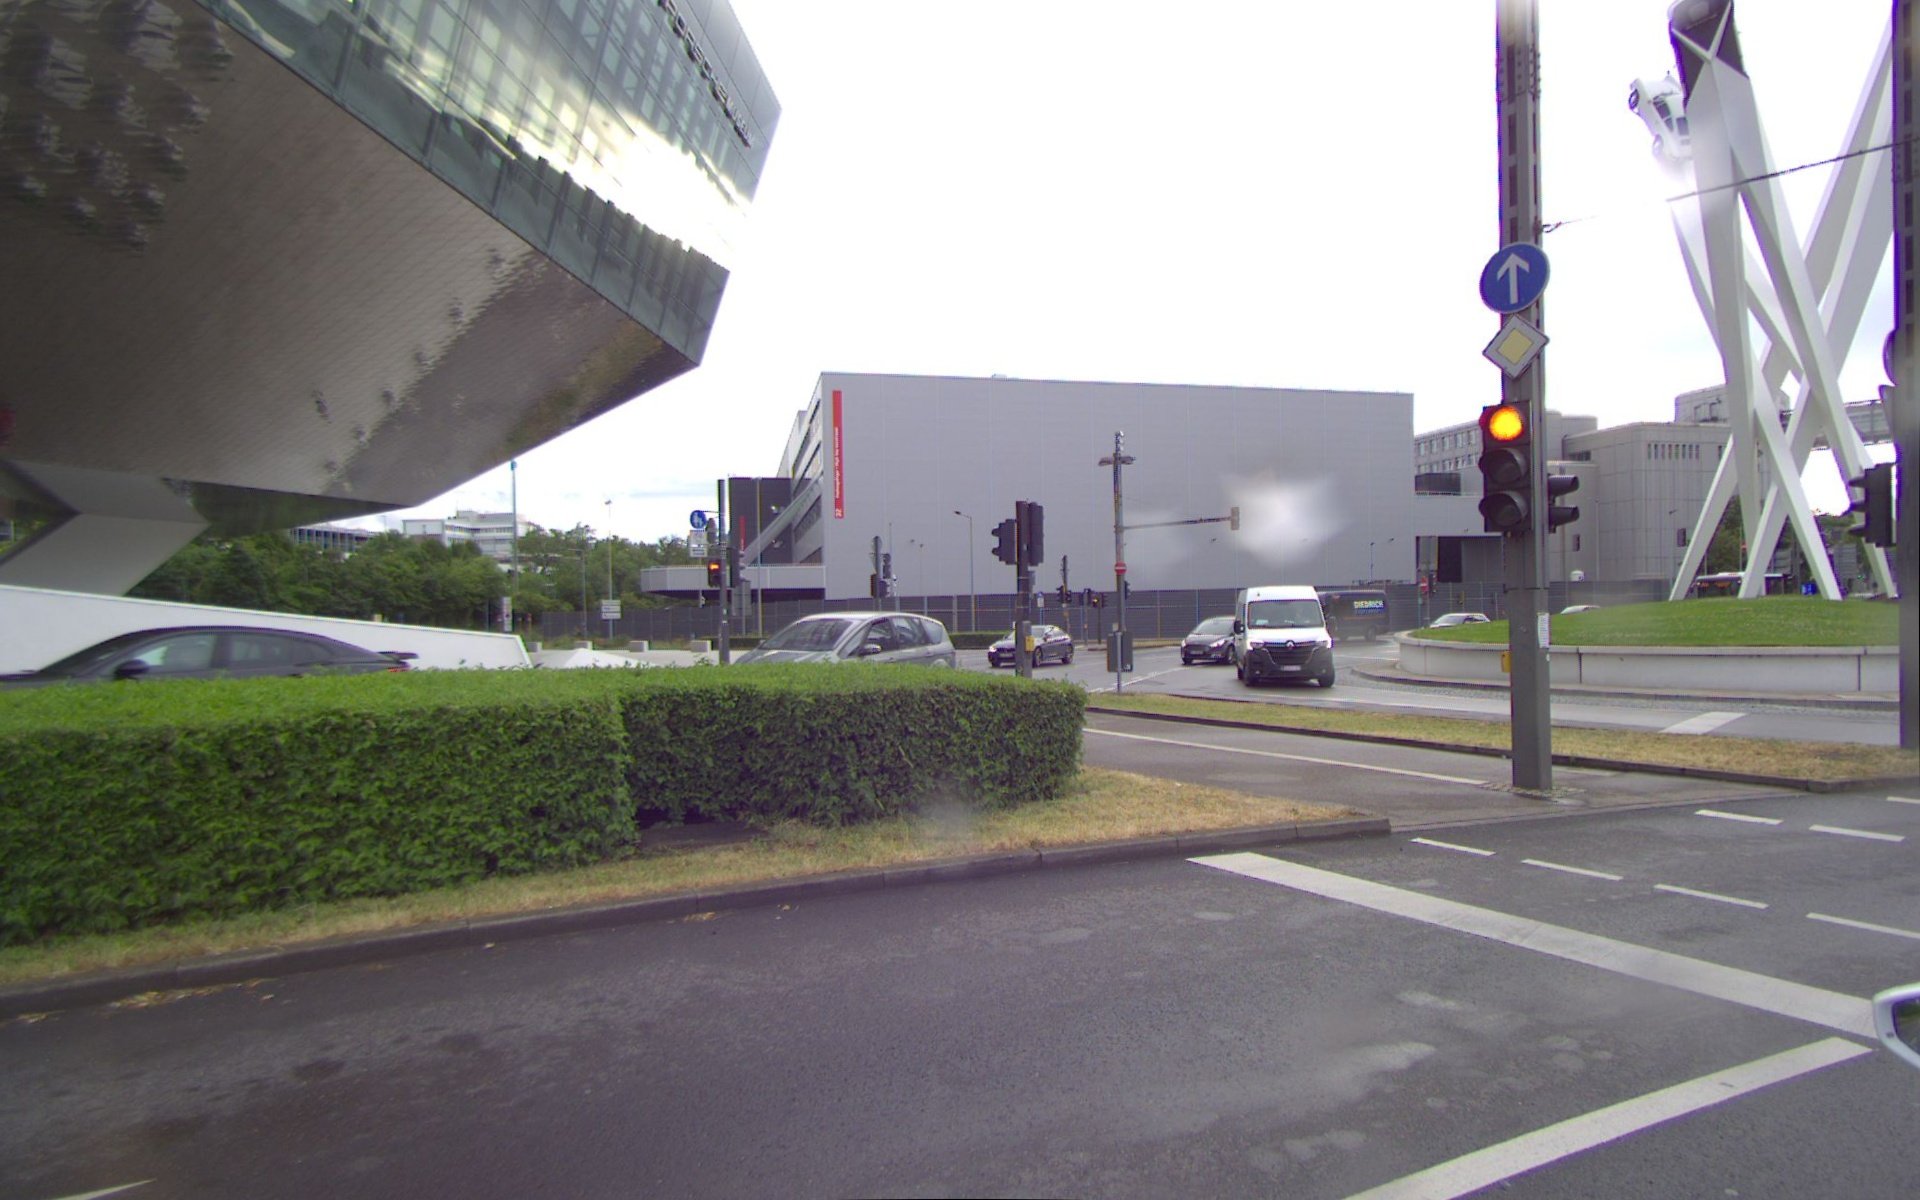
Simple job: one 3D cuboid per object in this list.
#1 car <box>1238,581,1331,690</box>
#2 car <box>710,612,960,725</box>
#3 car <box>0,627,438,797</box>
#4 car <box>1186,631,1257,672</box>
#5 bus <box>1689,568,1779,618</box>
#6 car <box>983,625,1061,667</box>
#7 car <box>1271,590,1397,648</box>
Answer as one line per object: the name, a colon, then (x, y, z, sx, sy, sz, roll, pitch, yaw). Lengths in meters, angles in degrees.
car: (8.179, 0.854, 25.739, 1.960, 2.479, 5.429, 0, -1, 15)
car: (-1.804, 0.959, 15.722, 1.807, 1.514, 3.991, 0, -1, 31)
car: (-8.344, 1.059, 10.823, 1.811, 1.491, 4.494, 0, -1, 39)
car: (9.893, 1.884, 37.801, 1.805, 1.356, 4.482, 0, -1, 25)
bus: (54.288, -0.395, 70.268, 12.570, 3.243, 2.645, 1, -1, -41)
car: (2.303, 1.606, 36.234, 1.803, 1.356, 4.248, 0, -1, 18)
car: (19.341, 0.978, 51.809, 7.038, 2.858, 1.959, 1, -1, -28)
